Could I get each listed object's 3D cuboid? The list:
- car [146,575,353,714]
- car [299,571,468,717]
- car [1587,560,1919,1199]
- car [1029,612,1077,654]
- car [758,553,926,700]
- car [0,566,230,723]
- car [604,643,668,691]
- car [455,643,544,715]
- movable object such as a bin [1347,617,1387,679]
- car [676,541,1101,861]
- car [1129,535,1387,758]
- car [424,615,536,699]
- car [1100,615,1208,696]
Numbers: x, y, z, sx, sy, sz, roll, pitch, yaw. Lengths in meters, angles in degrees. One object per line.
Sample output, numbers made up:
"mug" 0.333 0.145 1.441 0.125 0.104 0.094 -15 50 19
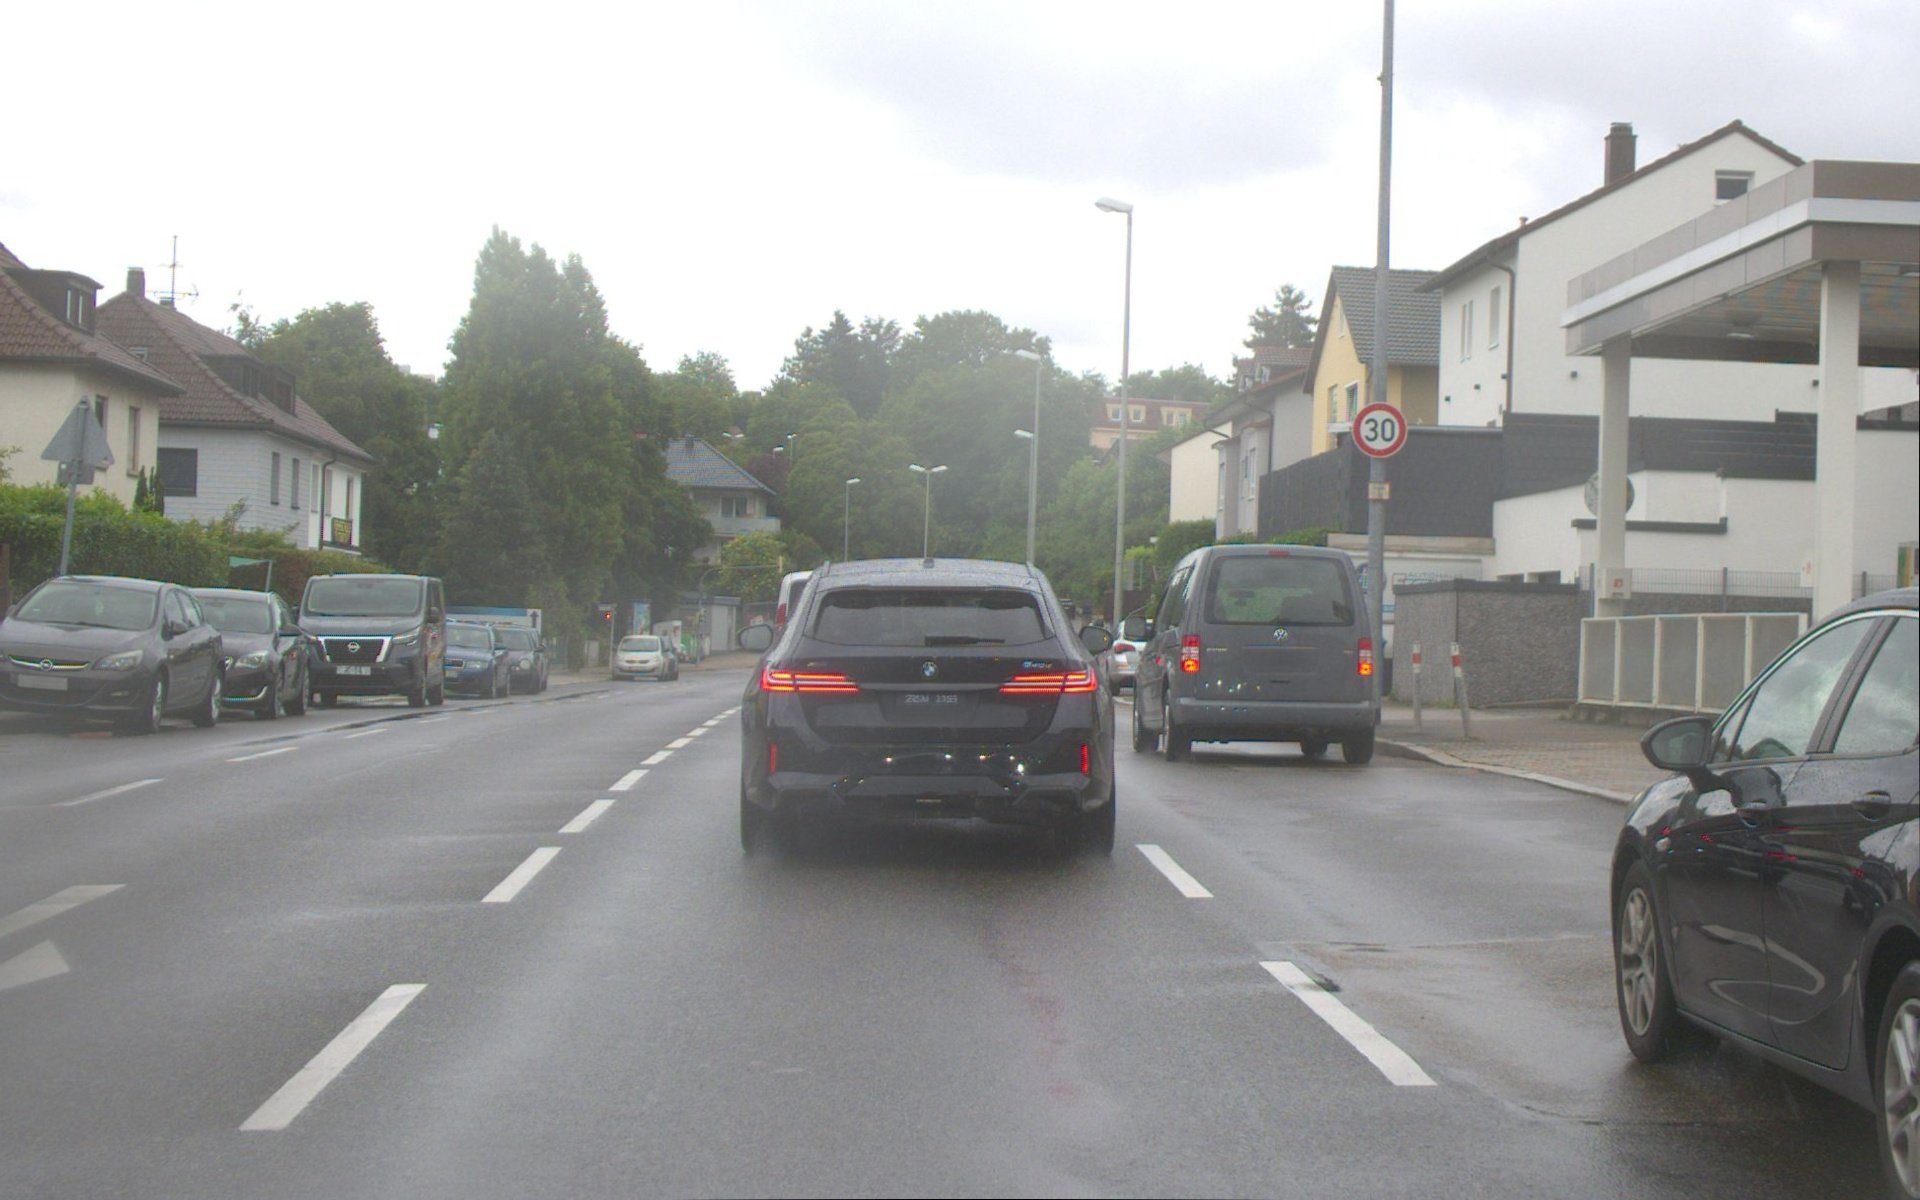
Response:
"car" -8.325 0.540 40.635 1.750 1.512 4.528 2 -1 -4
"car" -8.436 0.662 50.699 1.912 1.996 5.088 2 -1 -4
"car" 2.918 0.654 8.780 1.756 1.444 4.000 1 1 -2
"car" 5.119 1.779 188.865 2.522 2.006 5.608 2 2 2
"car" -1.464 0.361 43.546 1.993 1.732 4.000 1 -1 -1
"car" -8.548 0.451 34.122 1.750 1.435 4.129 1 -1 -1
"car" -11.166 2.312 118.815 1.884 1.580 4.000 1 -1 -1
"car" -9.649 1.657 72.239 1.551 1.426 4.015 2 -1 -4
"movable object such as a bin" 7.311 0.857 61.816 0.595 1.101 0.667 -1 -1 -2
"car" -0.365 0.523 18.420 1.993 1.479 4.000 1 -1 -1
"car" 2.508 0.415 29.804 1.838 1.761 4.000 1 -1 0
"car" -9.190 1.105 66.089 1.757 1.527 4.287 2 -1 -3
"car" 3.782 1.099 67.648 1.700 1.505 4.534 1 -1 -2
